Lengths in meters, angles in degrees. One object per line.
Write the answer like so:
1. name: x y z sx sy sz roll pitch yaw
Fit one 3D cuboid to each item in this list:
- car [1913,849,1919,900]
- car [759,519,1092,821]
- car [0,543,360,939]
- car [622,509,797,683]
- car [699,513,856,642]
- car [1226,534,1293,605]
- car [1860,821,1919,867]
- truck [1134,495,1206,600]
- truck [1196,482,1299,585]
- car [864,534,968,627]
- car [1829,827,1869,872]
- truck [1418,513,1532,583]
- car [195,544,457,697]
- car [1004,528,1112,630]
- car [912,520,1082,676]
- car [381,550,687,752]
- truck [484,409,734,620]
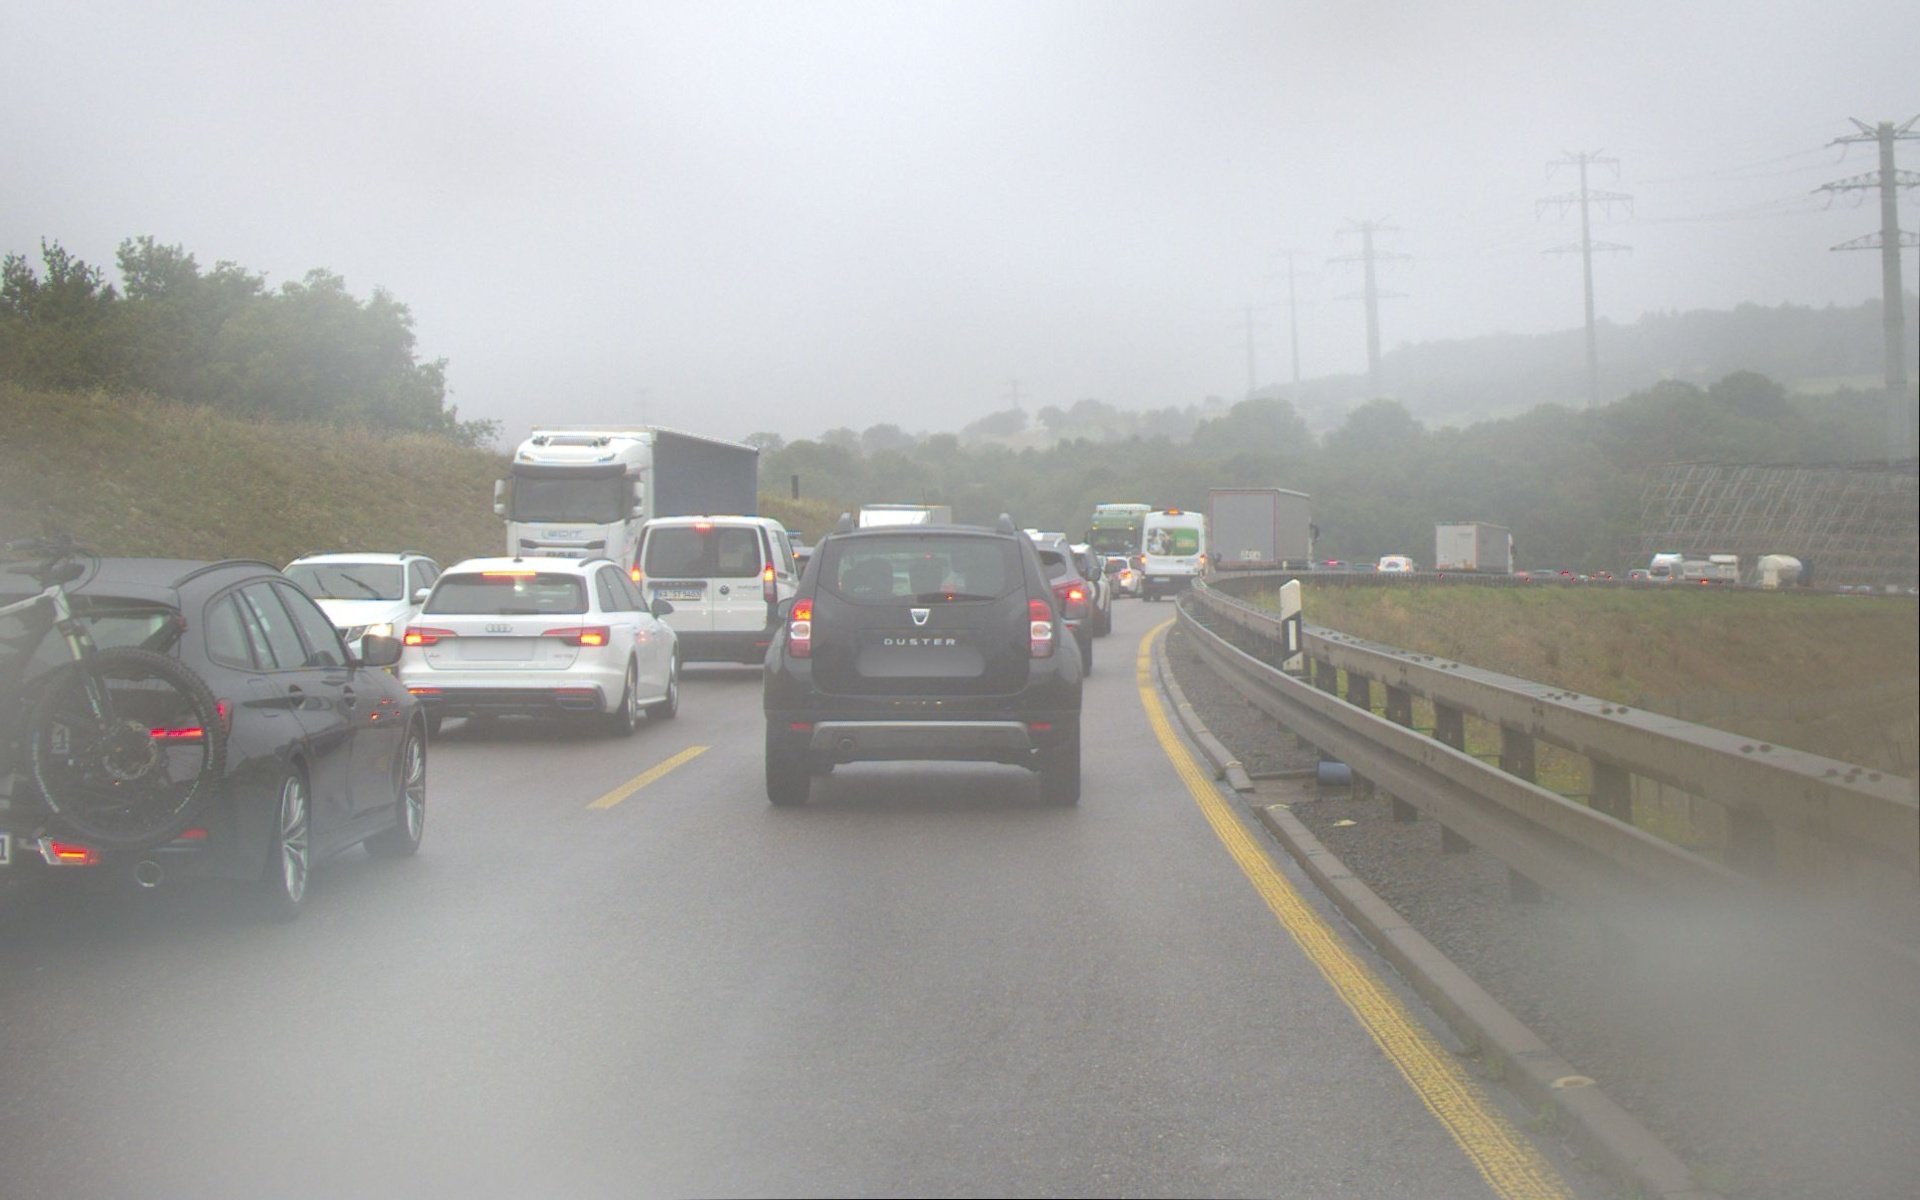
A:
1. car: 41.524 11.622 143.667 2.365 2.007 4.000 1 1 1
2. car: -0.132 0.351 20.531 1.804 1.640 3.776 0 1 2
3. car: -3.907 0.496 14.710 1.829 1.471 3.776 0 1 3
4. car: -2.837 -0.078 39.564 1.660 1.873 4.020 1 1 0
5. car: -2.526 -0.338 48.368 1.867 1.702 4.092 1 1 1
6. car: 8.325 -0.863 95.522 1.775 1.909 3.999 1 1 5
7. car: 43.571 11.433 161.103 1.994 1.809 4.000 0 1 4
8. truck: 6.631 -1.650 108.192 2.149 3.155 6.459 1 1 4
9. truck: 11.072 -2.544 131.572 3.202 3.748 8.506 1 1 9
10. car: -0.801 -0.369 64.979 1.867 1.703 4.092 0 0 0
11. car: 47.281 13.260 182.954 1.995 2.007 3.997 1 1 14
12. truck: 32.432 -3.236 215.793 4.721 4.135 15.669 1 1 17
13. car: -6.570 0.164 36.095 1.867 1.455 4.549 1 1 0
14. car: 1.687 -0.381 58.050 1.531 1.635 4.012 1 1 5
15. car: 0.427 -0.059 40.282 1.867 1.702 4.000 1 1 0
16. car: -3.367 0.347 27.985 1.867 1.455 4.549 1 1 0
17. truck: -7.379 -1.808 74.846 2.933 4.083 14.389 1 1 4
